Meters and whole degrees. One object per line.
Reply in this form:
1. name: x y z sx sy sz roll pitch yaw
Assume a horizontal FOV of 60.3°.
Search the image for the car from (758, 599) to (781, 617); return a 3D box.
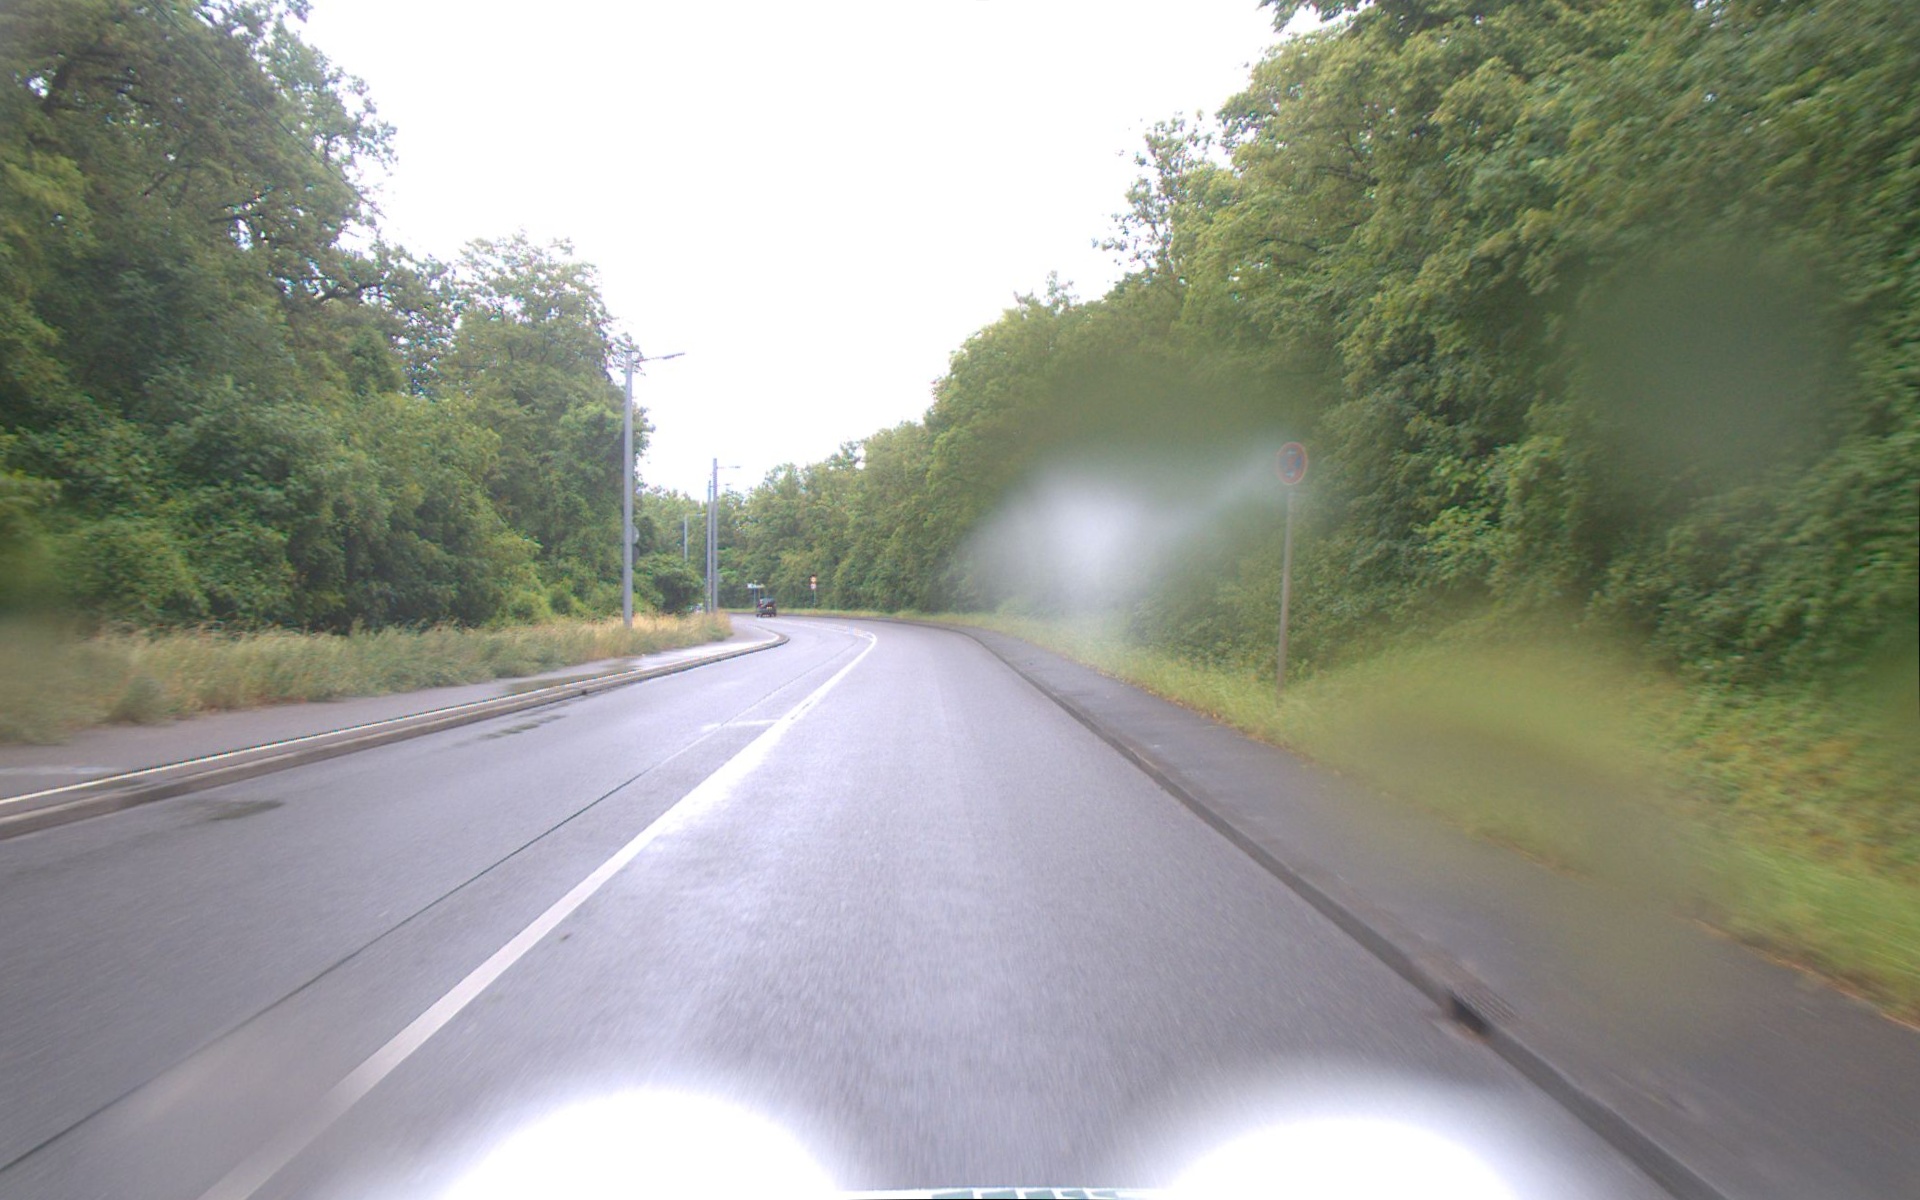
1. car: -19.502 0.813 169.183 1.836 1.624 3.986 4 -1 -14
